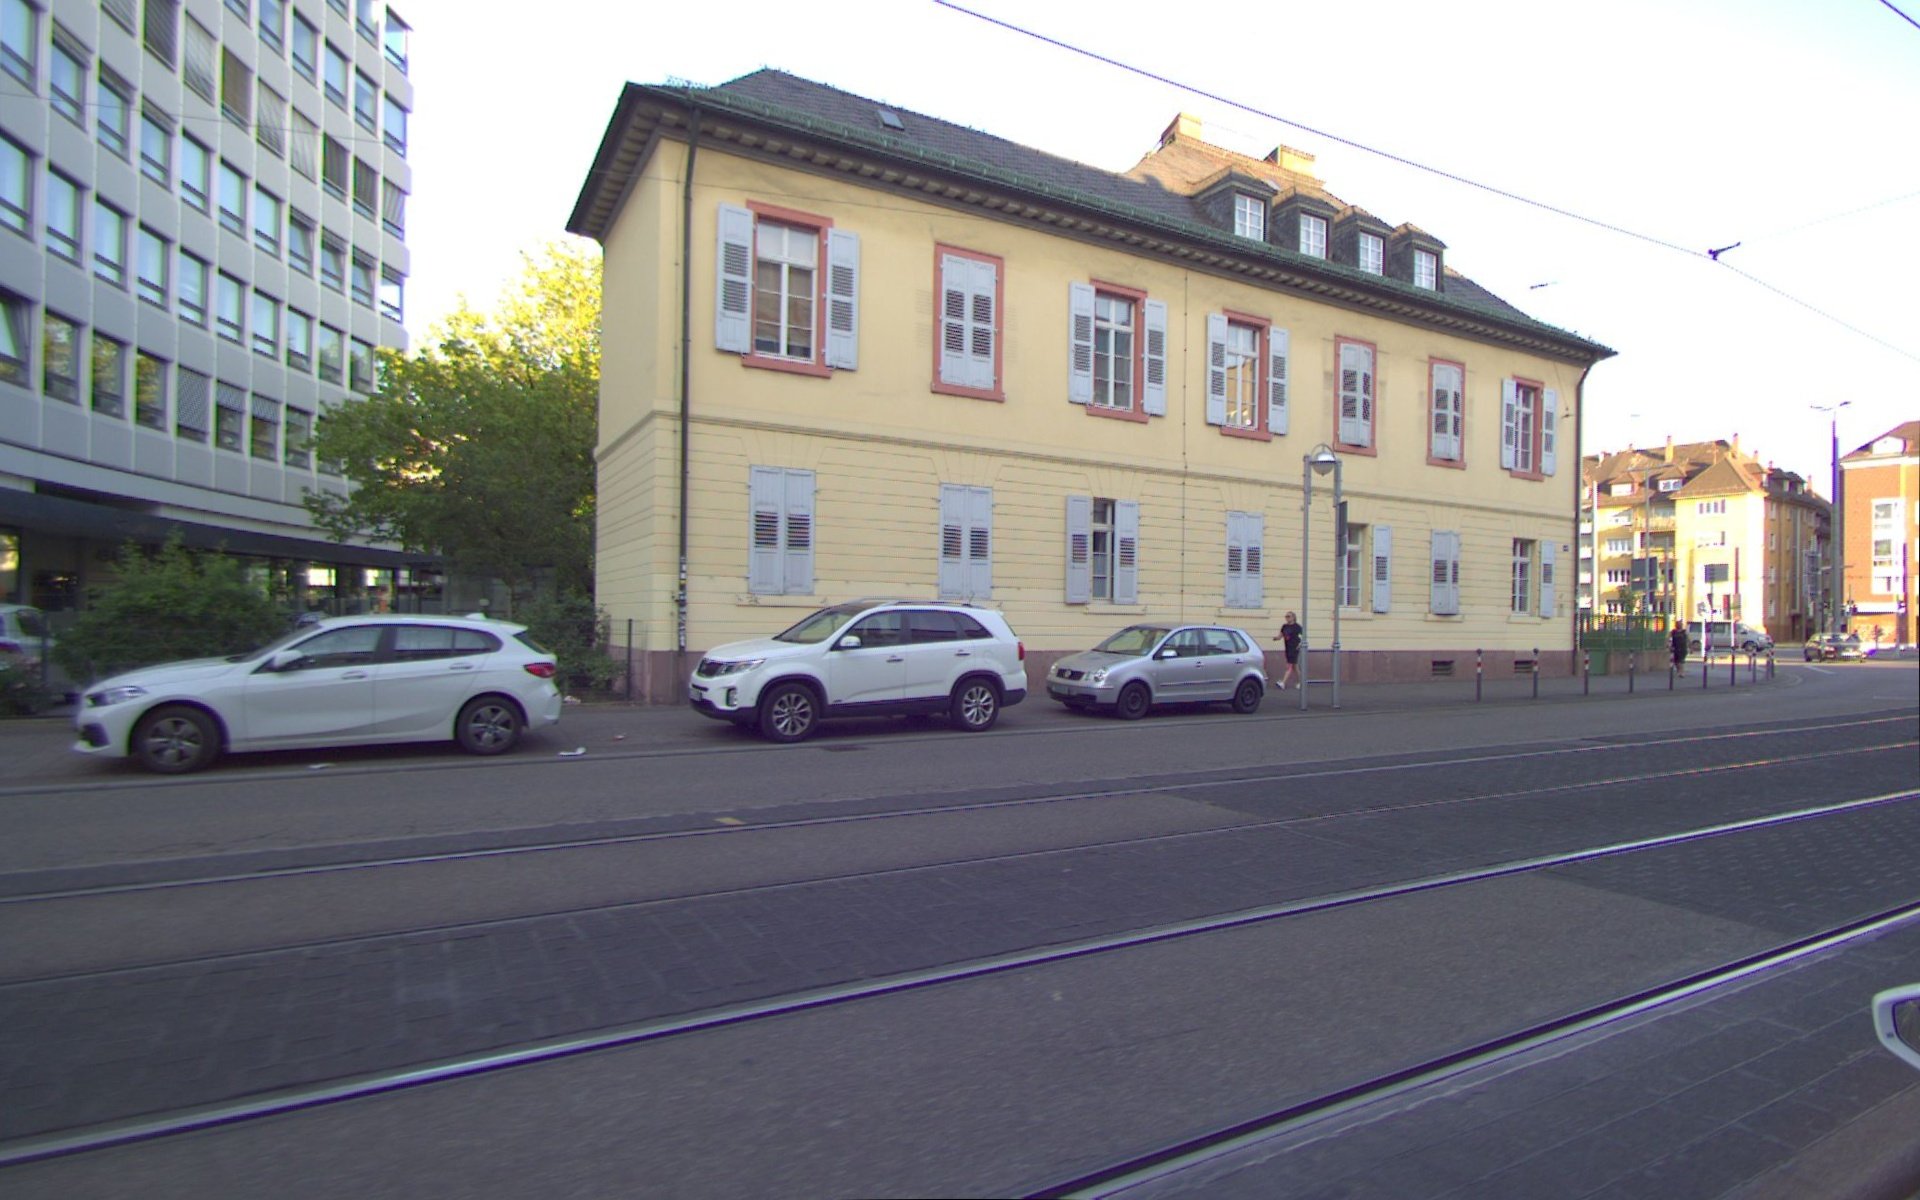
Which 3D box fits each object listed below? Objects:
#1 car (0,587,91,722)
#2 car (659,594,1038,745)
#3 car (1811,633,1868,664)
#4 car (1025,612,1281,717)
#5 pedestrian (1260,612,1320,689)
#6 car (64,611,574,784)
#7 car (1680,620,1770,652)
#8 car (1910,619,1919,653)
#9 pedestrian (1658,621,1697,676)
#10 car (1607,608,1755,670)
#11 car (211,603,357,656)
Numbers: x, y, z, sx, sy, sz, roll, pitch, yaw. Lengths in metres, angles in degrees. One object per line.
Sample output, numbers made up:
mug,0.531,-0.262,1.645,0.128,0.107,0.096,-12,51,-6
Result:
car,-13.455,0.644,13.579,1.893,1.574,3.966,2,0,-31
car,-1.411,0.839,13.492,4.708,1.683,1.876,1,1,-32
car,43.133,2.356,49.334,1.744,1.394,4.207,0,-1,37
car,3.199,0.984,16.498,3.953,1.494,1.740,1,1,-30
pedestrian,6.986,1.056,21.270,0.866,1.562,0.796,2,1,-28
car,-6.488,0.915,10.675,4.233,1.472,1.712,1,1,-31
car,52.005,2.438,68.350,1.987,2.040,4.637,1,-1,-44
car,59.645,2.158,59.690,1.985,2.063,4.520,1,-1,-41
pedestrian,20.749,1.393,29.045,0.712,1.556,0.715,2,-1,-34
car,25.016,1.303,34.922,3.946,2.040,1.988,0,-2,45
car,-20.622,0.861,30.863,1.708,1.418,4.000,2,0,1
